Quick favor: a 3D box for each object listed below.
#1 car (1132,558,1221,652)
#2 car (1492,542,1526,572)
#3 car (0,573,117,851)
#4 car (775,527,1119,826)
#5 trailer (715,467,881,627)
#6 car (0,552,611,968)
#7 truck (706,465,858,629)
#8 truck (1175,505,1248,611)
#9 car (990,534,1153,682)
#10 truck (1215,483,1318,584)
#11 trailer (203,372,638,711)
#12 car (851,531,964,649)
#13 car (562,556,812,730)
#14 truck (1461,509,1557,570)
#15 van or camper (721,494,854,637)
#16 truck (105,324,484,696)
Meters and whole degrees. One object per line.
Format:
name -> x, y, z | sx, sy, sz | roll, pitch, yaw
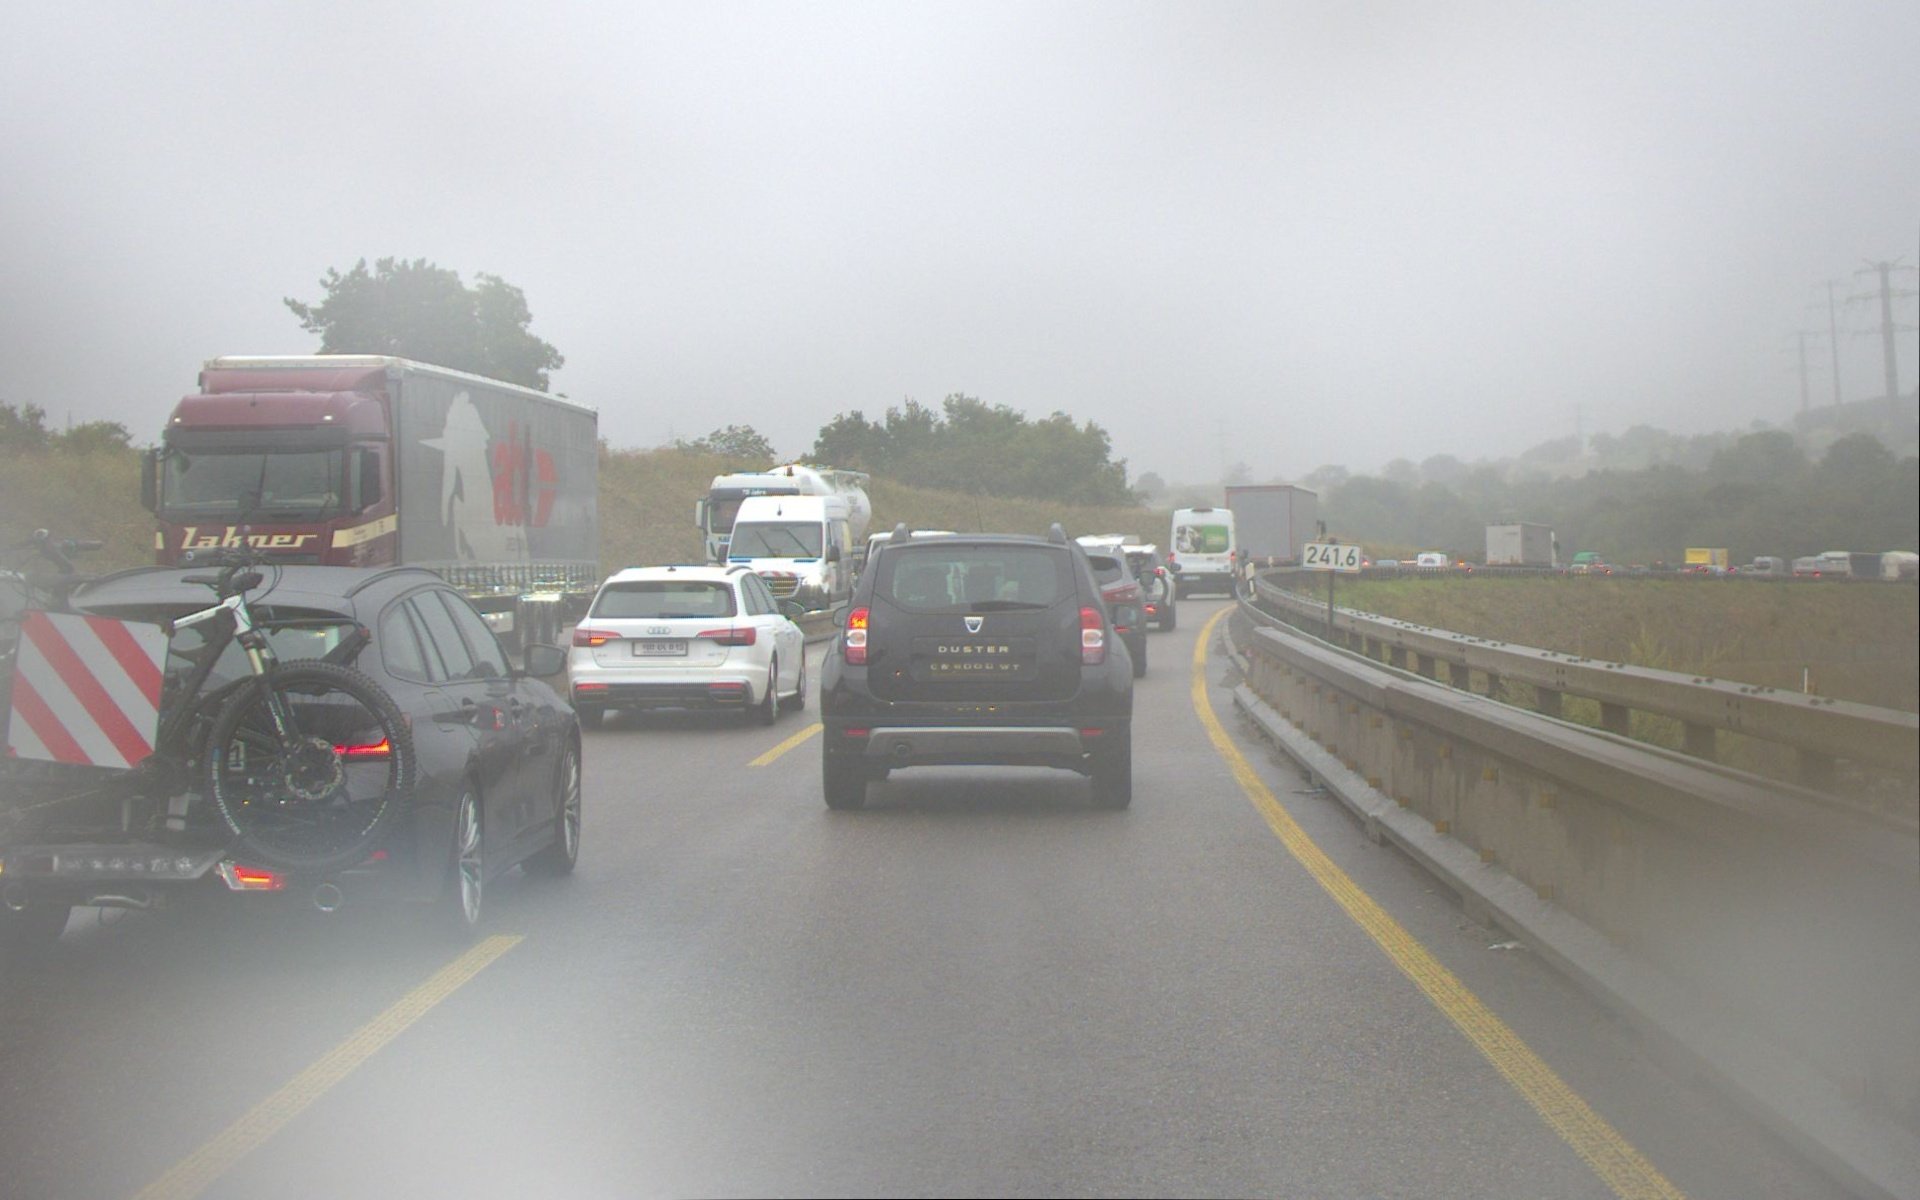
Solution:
car -> 3.927, 0.060, 61.973 | 1.531, 1.635, 4.012 | 1, 1, 5
car -> 35.351, -2.763, 221.266 | 1.776, 1.909, 3.997 | 1, 1, 14
car -> -6.089, 0.607, 18.672 | 1.744, 1.497, 4.634 | 0, 1, 2
car -> 0.010, 0.413, 20.915 | 1.804, 1.640, 3.776 | -1, 0, 4
trailer -> -4.182, -1.376, 91.675 | 3.255, 3.950, 11.536 | -1, 0, 3
car -> -2.572, 0.562, 14.175 | 1.829, 1.471, 3.776 | -1, 0, 1
truck -> -4.412, -1.320, 86.577 | 3.231, 3.942, 5.881 | -1, 0, 2
truck -> 7.817, -1.299, 106.617 | 2.149, 3.155, 6.458 | 1, 1, 5
car -> 1.346, 0.072, 41.662 | 1.868, 1.703, 4.000 | 0, 1, 2
truck -> 11.879, -2.546, 132.614 | 3.202, 3.748, 8.506 | 1, 1, 10
trailer -> -7.916, -0.944, 53.556 | 2.995, 4.406, 15.701 | -2, 1, 4
car -> -0.837, -0.184, 56.639 | 1.660, 1.873, 4.020 | 0, 1, 2
car -> -2.407, 0.335, 31.303 | 1.867, 1.455, 4.548 | 0, 1, 1
truck -> 38.911, -4.230, 243.128 | 4.721, 4.135, 15.670 | 1, 1, 16
van or camper -> -3.247, -0.659, 65.975 | 2.278, 2.605, 5.828 | 0, 1, 0
truck -> -8.535, -1.152, 45.044 | 2.980, 4.394, 6.930 | -2, 1, 4
